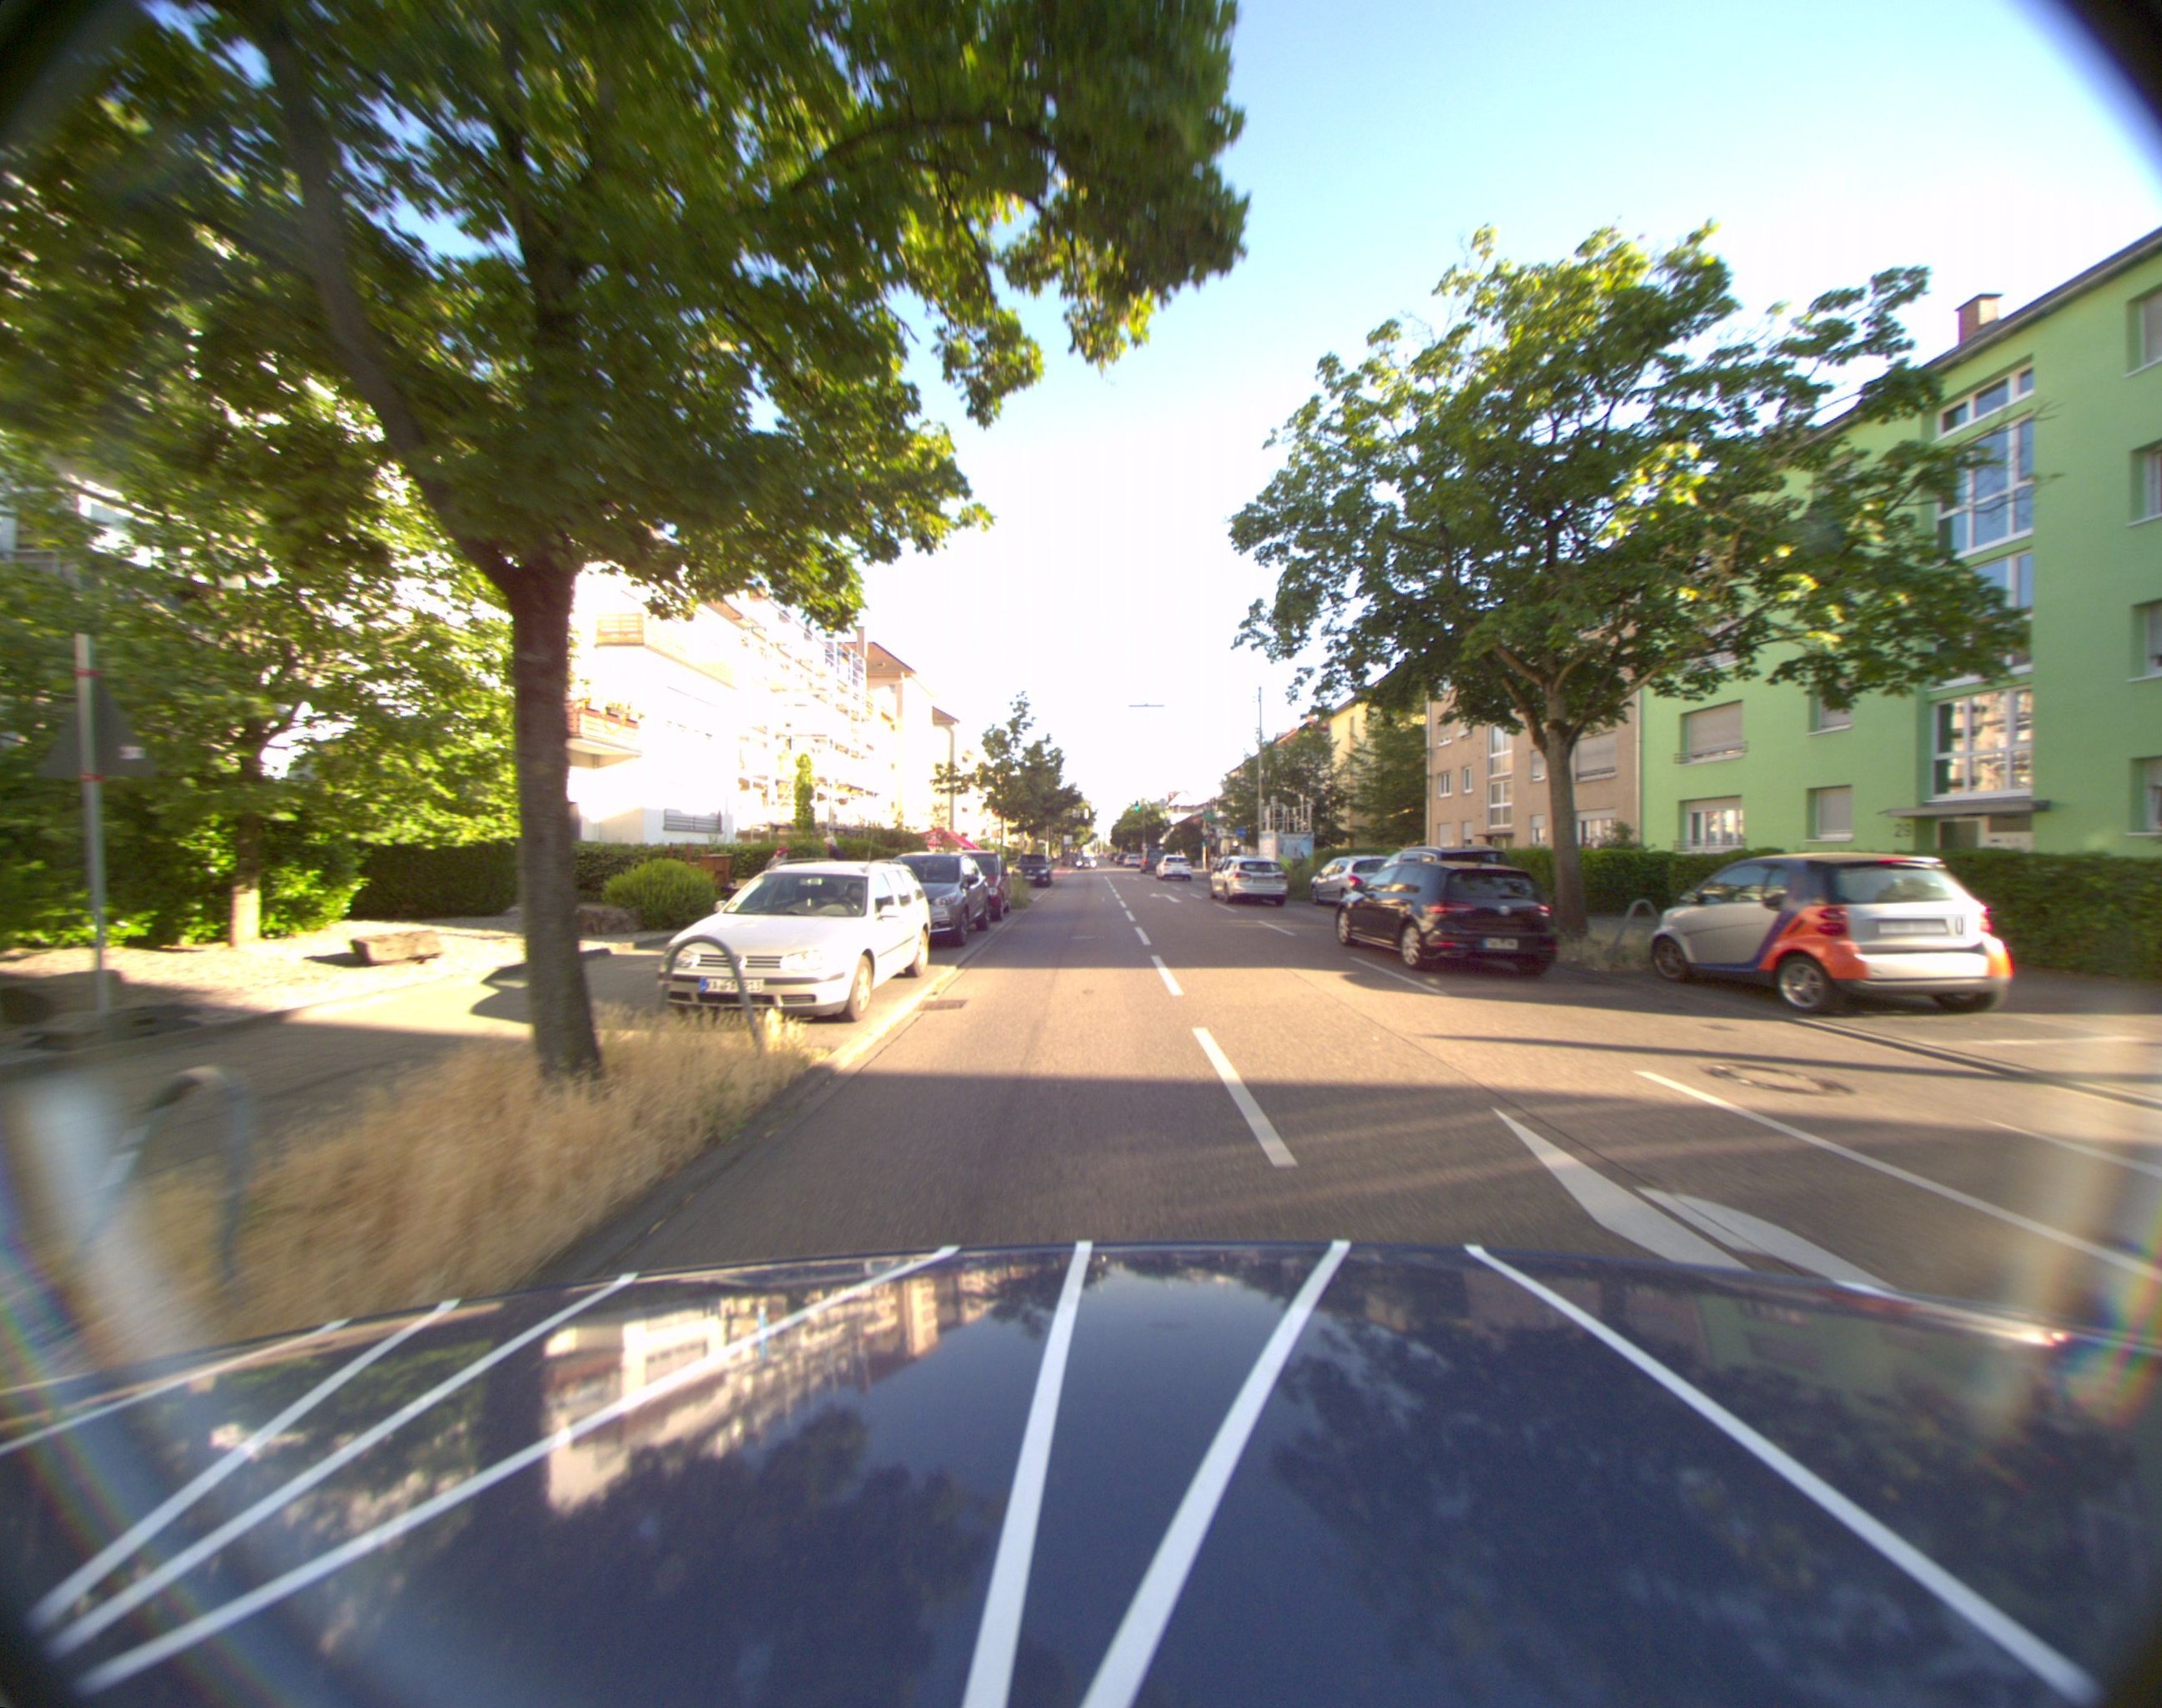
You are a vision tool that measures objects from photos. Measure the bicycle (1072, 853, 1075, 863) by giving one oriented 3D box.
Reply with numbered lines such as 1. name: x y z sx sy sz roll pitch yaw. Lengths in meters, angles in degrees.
1. bicycle: -0.969 0.499 95.382 0.325 1.138 1.800 -1 1 -4

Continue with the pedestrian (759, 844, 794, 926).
1. pedestrian: -6.398 0.638 15.993 0.512 1.687 0.527 -1 1 -4

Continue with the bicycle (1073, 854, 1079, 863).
1. bicycle: -0.678 0.569 101.031 0.324 1.138 1.802 0 1 14

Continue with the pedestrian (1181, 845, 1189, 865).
1. pedestrian: 10.548 0.124 77.112 0.645 2.002 0.814 -2 2 2

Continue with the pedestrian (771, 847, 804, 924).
1. pedestrian: -6.480 0.685 16.803 0.512 1.687 0.527 -1 1 -4

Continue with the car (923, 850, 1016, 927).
1. car: -2.618 0.746 18.822 1.726 1.646 4.596 -1 0 -2

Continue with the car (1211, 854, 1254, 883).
1. car: 8.258 0.737 41.698 1.657 1.471 3.943 -1 0 2

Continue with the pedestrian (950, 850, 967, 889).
1. pedestrian: -4.959 0.617 30.841 0.558 1.559 0.747 -1 1 -17

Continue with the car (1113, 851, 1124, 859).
1. car: 6.635 0.203 134.161 1.845 1.312 4.441 0 1 2

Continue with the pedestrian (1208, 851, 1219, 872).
1. pedestrian: 10.428 0.605 59.781 0.608 1.585 0.749 -4 2 -2

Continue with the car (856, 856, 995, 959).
1. car: -2.650 0.844 13.842 1.640 1.559 4.000 0 0 1

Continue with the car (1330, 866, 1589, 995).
1. car: 5.078 0.924 10.891 1.704 1.395 4.027 1 0 0

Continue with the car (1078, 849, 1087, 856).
1. car: 0.282 -0.351 161.651 1.744 1.509 3.811 -1 1 3

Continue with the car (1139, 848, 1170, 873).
1. car: 5.822 0.479 60.757 1.998 1.934 4.777 1 0 1

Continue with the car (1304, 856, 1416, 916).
1. car: 7.994 0.852 22.194 1.687 1.512 4.190 -1 0 -1

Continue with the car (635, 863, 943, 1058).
1. car: -2.759 0.891 8.343 1.641 1.482 4.415 0 0 0

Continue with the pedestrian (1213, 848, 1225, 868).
1. pedestrian: 11.137 0.320 61.384 0.750 1.648 0.608 -1 1 -6

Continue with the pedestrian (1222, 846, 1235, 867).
1. pedestrian: 11.799 0.209 60.699 0.607 1.620 0.751 -3 2 38

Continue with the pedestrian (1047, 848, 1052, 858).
1. pedestrian: -4.902 -0.151 118.792 0.659 1.673 0.831 0 1 6

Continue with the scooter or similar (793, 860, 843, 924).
1. scooter or similar: -5.587 0.799 16.169 0.748 1.309 0.721 -1 1 8

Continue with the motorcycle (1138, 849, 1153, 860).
1. motorcycle: 9.204 0.034 108.658 1.263 1.526 2.887 -1 1 -13

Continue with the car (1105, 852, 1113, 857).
1. car: 9.203 0.031 249.112 1.843 1.604 4.406 -1 1 -6

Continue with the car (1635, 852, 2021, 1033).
1. car: 7.780 0.803 8.291 1.502 1.607 2.862 -1 1 4

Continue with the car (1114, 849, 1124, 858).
1. car: 7.559 -0.083 151.405 1.842 1.866 4.409 -1 1 0

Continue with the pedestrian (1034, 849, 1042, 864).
1. pedestrian: -4.984 0.283 88.665 0.830 1.673 0.660 0 1 5

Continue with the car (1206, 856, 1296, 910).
1. car: 5.299 0.843 24.284 1.837 1.462 4.451 2 0 0

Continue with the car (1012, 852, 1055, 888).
1. car: -2.231 0.737 36.722 1.796 1.622 4.029 -1 0 0

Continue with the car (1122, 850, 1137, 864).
1. car: 6.825 0.425 107.096 1.866 1.819 5.227 1 1 2

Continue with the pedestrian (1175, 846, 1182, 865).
1. pedestrian: 10.053 0.173 78.671 0.639 2.002 0.739 -1 1 2

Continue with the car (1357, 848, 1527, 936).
1. car: 7.949 0.734 17.277 1.788 1.723 4.617 -1 0 1

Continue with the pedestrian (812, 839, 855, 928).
1. pedestrian: -5.243 0.611 16.108 0.549 1.839 0.765 -1 1 8

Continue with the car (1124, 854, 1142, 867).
1. car: 6.198 0.798 90.972 1.841 1.465 4.671 1 0 1

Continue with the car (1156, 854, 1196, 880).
1. car: 5.589 0.730 45.083 1.820 1.438 4.109 2 0 0

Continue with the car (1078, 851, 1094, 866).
1. car: 0.521 0.449 78.056 1.641 1.482 4.415 0 0 0

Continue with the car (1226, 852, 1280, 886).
1. car: 8.249 0.679 36.691 1.641 1.543 3.785 -1 0 -2
